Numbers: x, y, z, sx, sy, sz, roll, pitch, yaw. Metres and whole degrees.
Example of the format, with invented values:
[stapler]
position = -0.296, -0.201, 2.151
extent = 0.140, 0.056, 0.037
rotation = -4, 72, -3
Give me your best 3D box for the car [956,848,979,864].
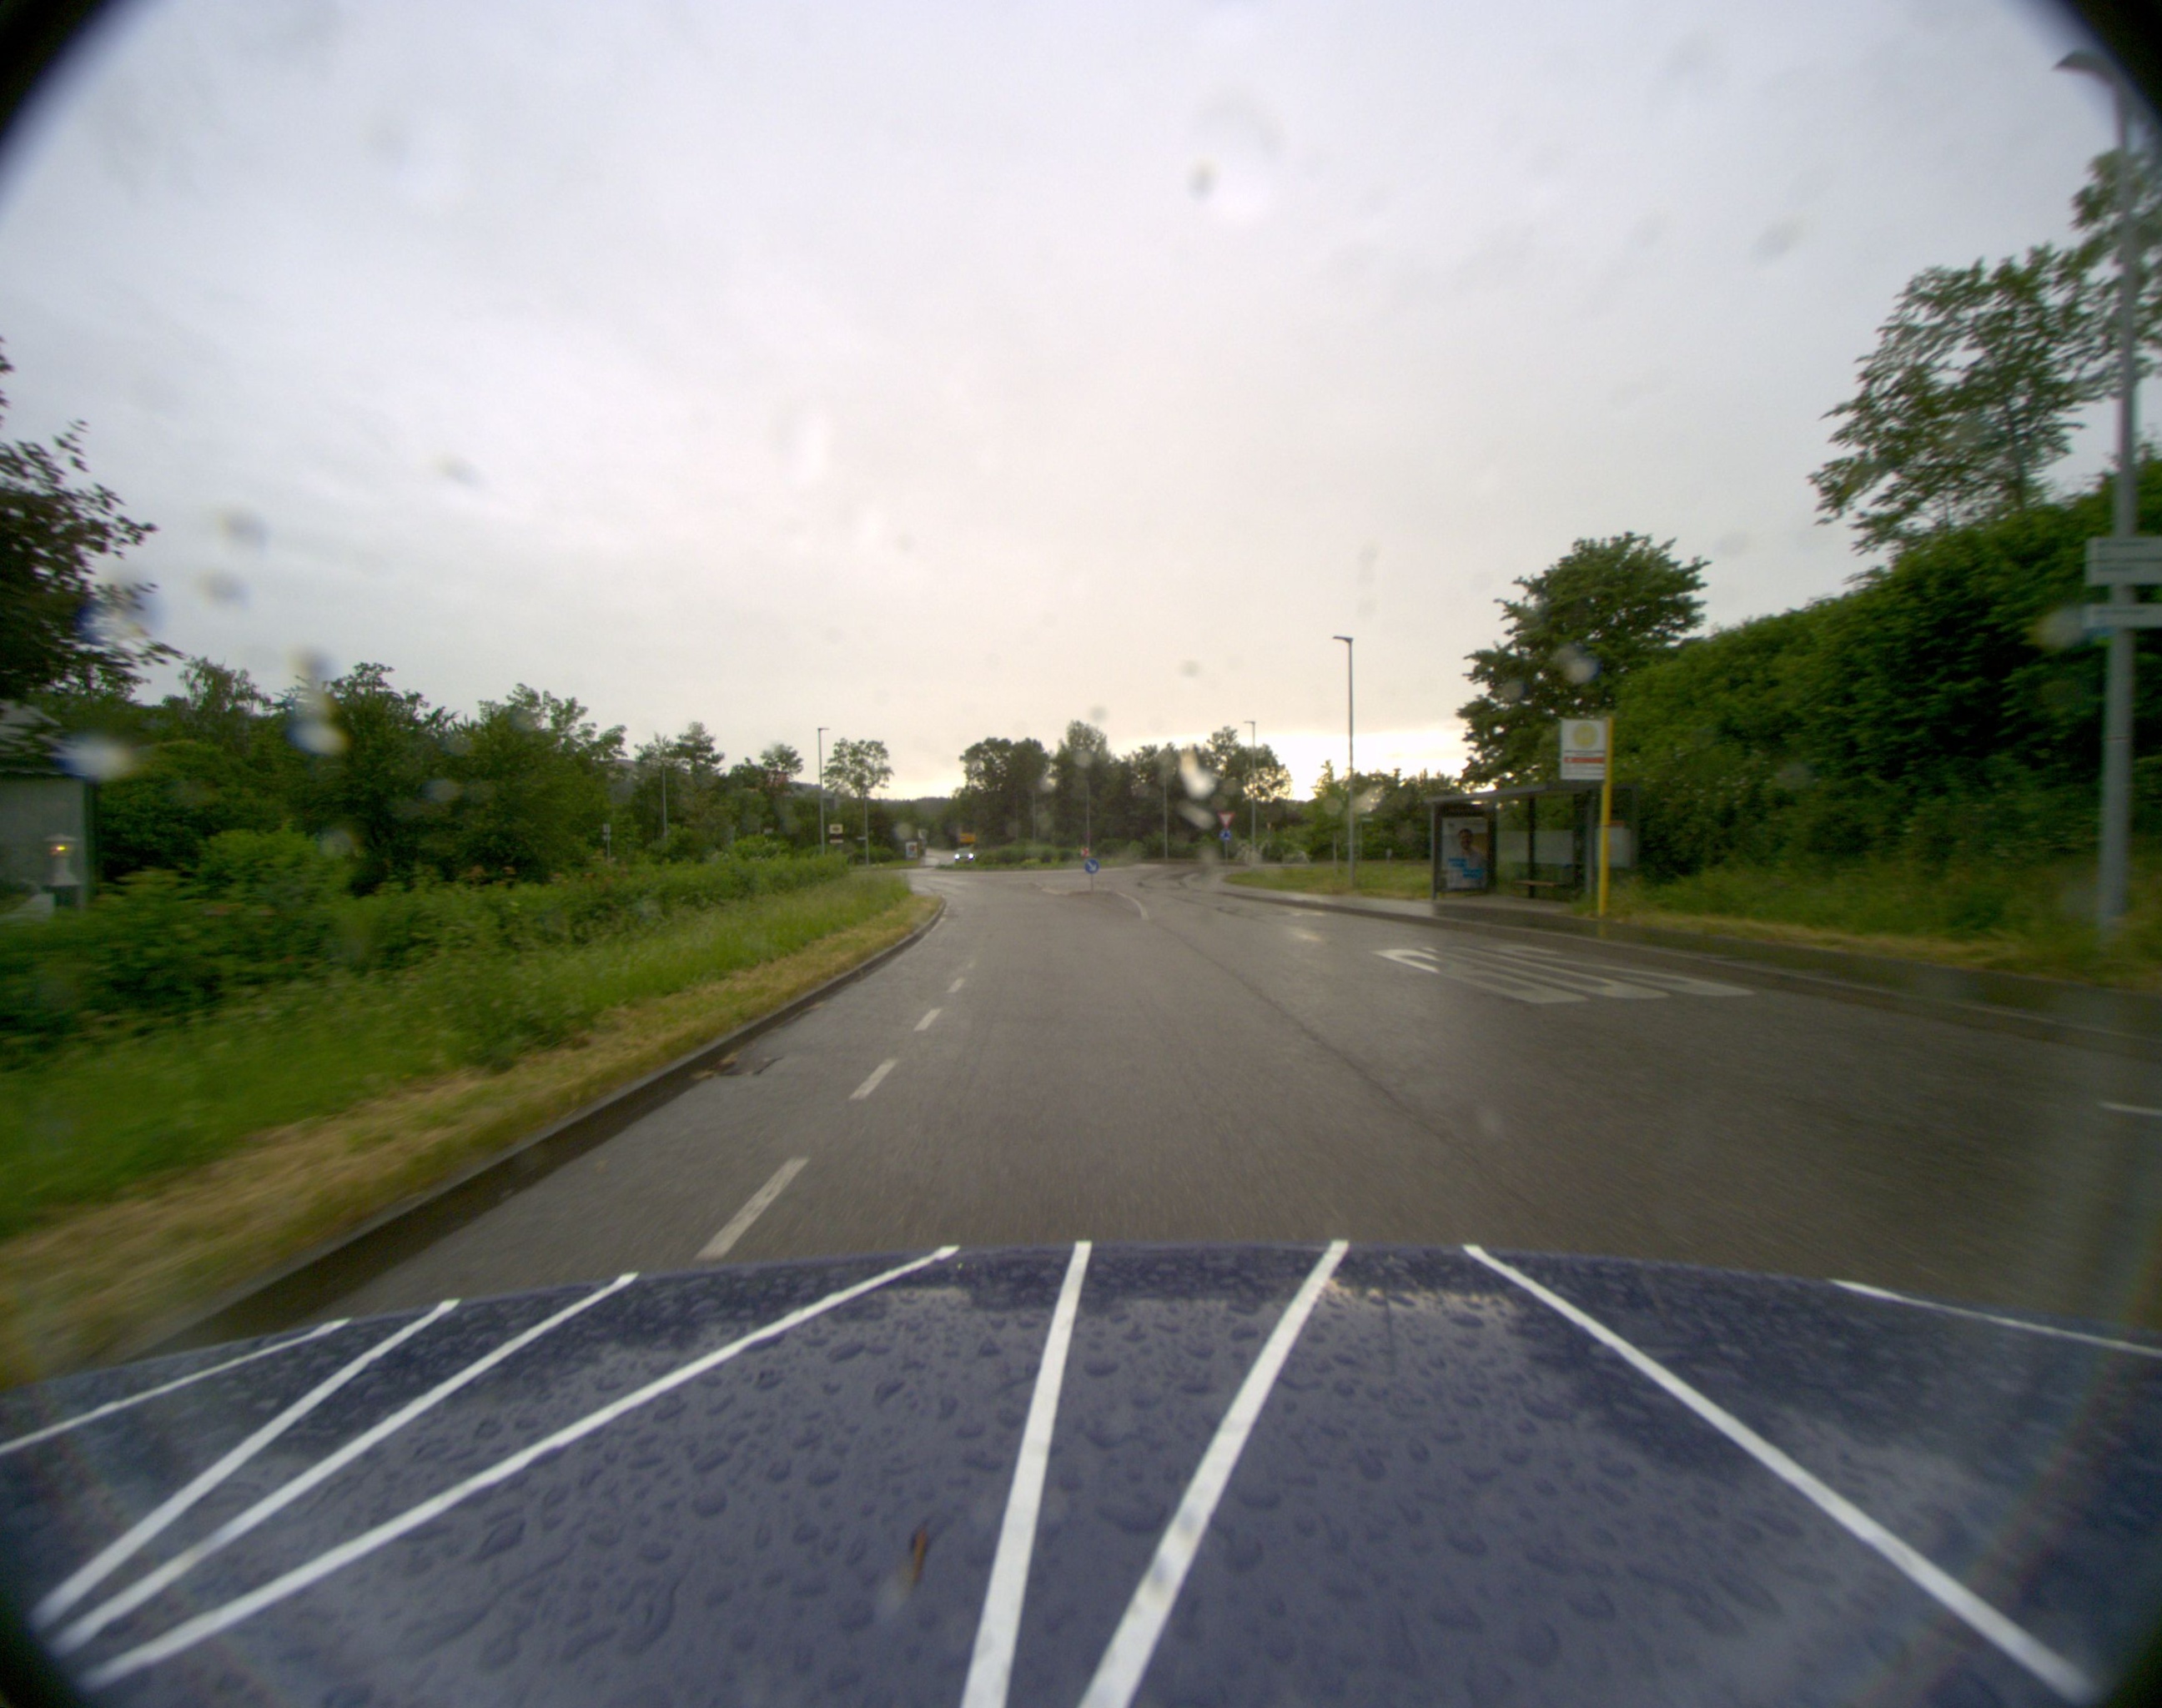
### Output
[car]
position = -11.864, 0.208, 79.261
extent = 1.858, 1.481, 4.114
rotation = -2, 2, -15
